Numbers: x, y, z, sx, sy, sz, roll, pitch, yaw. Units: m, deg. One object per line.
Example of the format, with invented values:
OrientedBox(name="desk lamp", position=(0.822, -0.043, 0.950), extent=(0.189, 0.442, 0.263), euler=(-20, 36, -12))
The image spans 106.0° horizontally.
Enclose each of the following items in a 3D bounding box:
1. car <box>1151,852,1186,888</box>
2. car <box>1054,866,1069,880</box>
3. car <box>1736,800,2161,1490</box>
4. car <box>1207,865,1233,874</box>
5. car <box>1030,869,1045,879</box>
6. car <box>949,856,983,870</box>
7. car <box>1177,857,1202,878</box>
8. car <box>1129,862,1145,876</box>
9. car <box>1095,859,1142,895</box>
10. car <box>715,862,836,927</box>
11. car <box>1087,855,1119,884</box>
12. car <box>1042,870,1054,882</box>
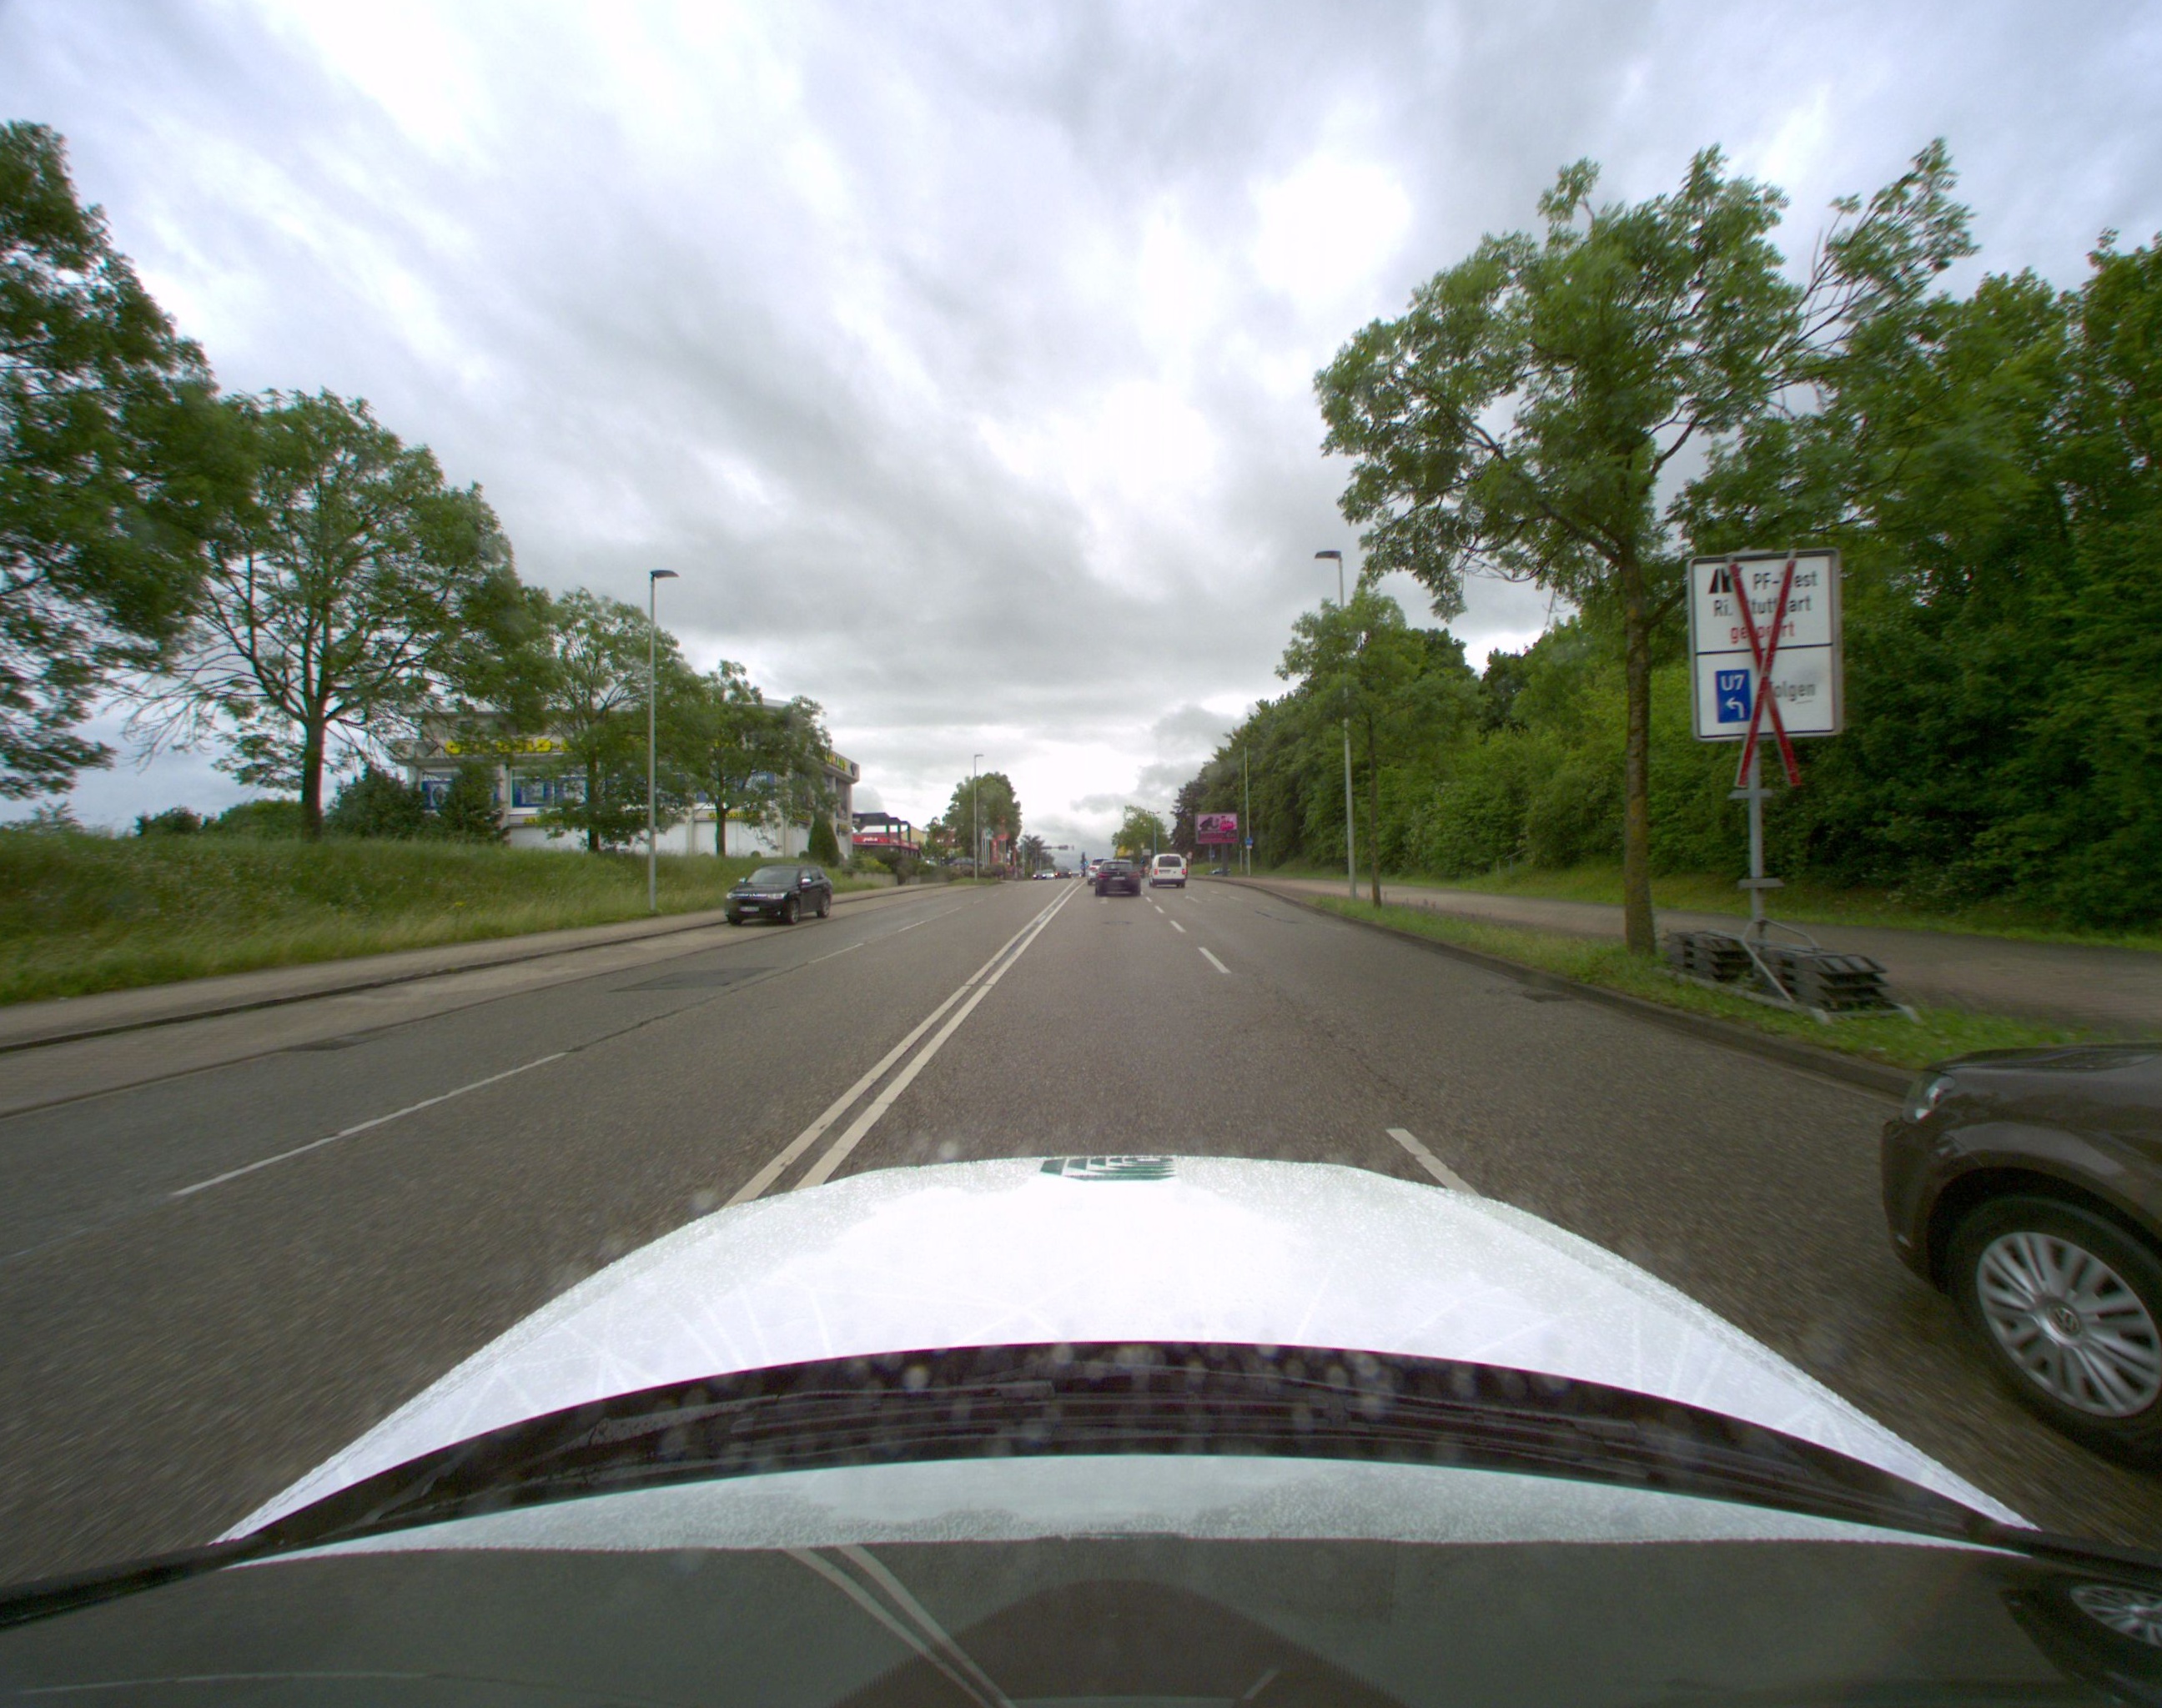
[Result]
OrientedBox(name="car", position=(4.750, 0.831, 44.548), extent=(1.734, 1.869, 3.949), euler=(0, 0, 3))
OrientedBox(name="car", position=(-2.410, 2.319, 101.603), extent=(1.790, 1.584, 4.198), euler=(-2, 0, 0))
OrientedBox(name="car", position=(3.326, 0.668, 1.057), extent=(1.707, 1.596, 4.132), euler=(-1, 0, 1))
OrientedBox(name="car", position=(23.572, 2.660, 138.400), extent=(3.997, 1.294, 1.599), euler=(-2, -1, -17))
OrientedBox(name="car", position=(-6.253, 2.870, 116.786), extent=(1.786, 1.401, 4.301), euler=(-3, -1, 2))
OrientedBox(name="car", position=(-13.435, 1.087, 95.190), extent=(3.821, 1.482, 1.738), euler=(-1, -1, -6))
OrientedBox(name="car", position=(9.190, 1.115, 69.402), extent=(1.806, 1.708, 3.949), euler=(-2, 0, 3))
OrientedBox(name="car", position=(5.854, 1.541, 85.486), extent=(1.594, 1.372, 3.683), euler=(-2, 0, 3))
OrientedBox(name="car", position=(1.608, 0.917, 33.802), extent=(1.847, 1.419, 3.961), euler=(0, 0, 4))
OrientedBox(name="car", position=(-8.731, 1.089, 23.721), extent=(1.719, 1.668, 4.489), euler=(0, 0, 2))
OrientedBox(name="car", position=(1.378, 0.903, 50.049), extent=(1.720, 1.711, 3.386), euler=(0, 0, 5))
OrientedBox(name="car", position=(-5.693, 3.860, 141.169), extent=(1.791, 1.983, 4.895), euler=(-3, -1, -1))
